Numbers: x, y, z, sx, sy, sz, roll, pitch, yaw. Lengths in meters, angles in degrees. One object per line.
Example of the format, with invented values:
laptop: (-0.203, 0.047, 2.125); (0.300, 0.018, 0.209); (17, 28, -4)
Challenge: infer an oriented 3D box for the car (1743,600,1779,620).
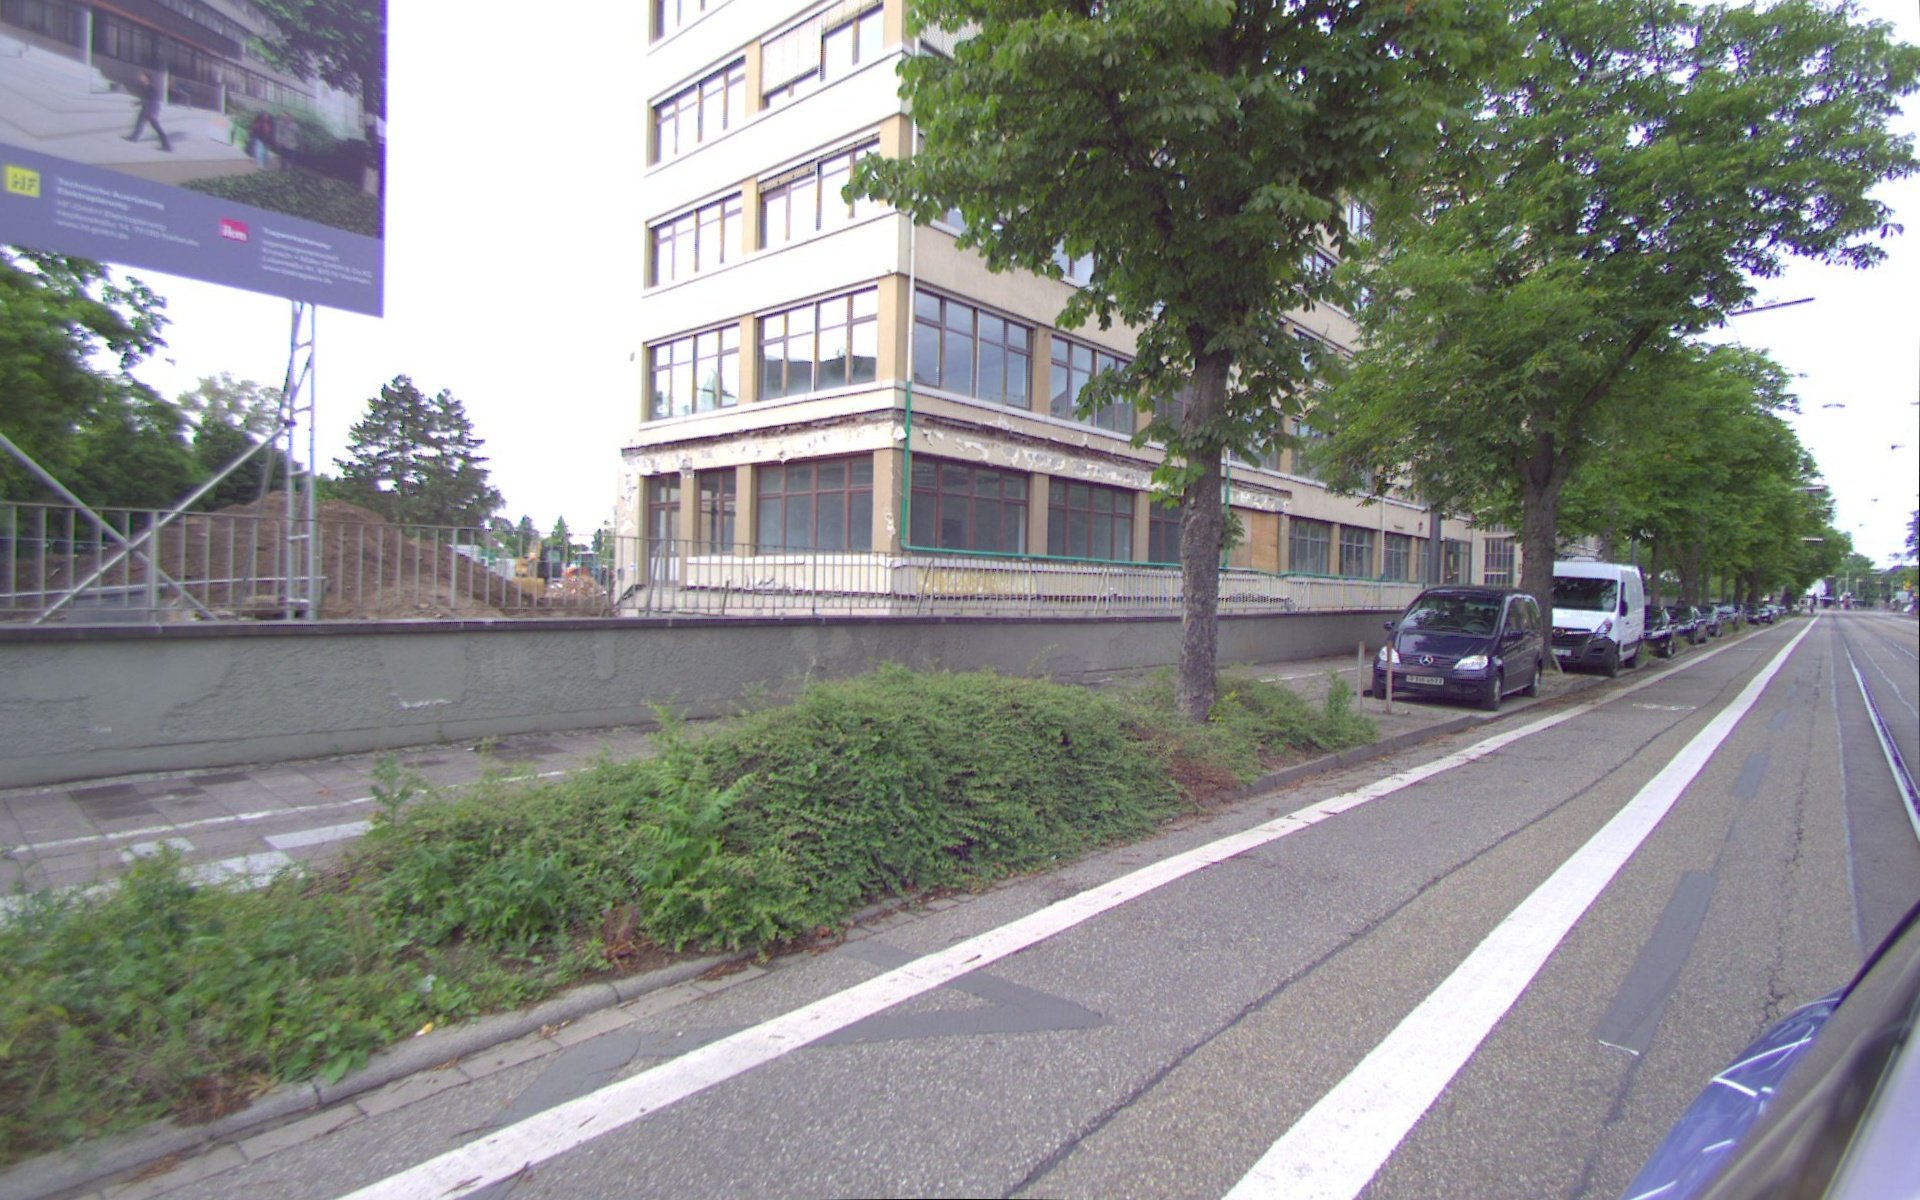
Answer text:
car: (62.431, 0.756, 78.842); (1.992, 1.479, 4.328); (1, 0, 41)

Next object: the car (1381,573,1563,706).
car: (8.207, 0.512, 16.054); (1.652, 1.835, 4.024); (1, 1, 41)

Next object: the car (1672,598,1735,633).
car: (34.001, 0.674, 46.242); (1.992, 1.479, 4.328); (1, 0, 41)

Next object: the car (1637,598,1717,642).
car: (26.413, 0.697, 37.210); (1.992, 1.479, 4.328); (1, 0, 41)

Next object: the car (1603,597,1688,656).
car: (20.431, 0.726, 30.098); (1.817, 1.518, 4.050); (4, 3, 38)

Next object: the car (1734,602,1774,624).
car: (54.970, 0.883, 70.010); (1.992, 1.479, 4.328); (1, 0, 41)

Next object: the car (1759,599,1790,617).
car: (71.562, 0.681, 88.936); (1.992, 1.479, 4.328); (1, 0, 41)

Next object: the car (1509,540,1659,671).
car: (14.378, 0.105, 23.158); (2.110, 2.635, 5.410); (0, 0, 41)

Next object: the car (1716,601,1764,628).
car: (45.438, 0.790, 58.913); (1.992, 1.479, 4.328); (1, 0, 41)

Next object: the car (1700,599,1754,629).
car: (40.168, 0.715, 52.993); (1.992, 1.479, 4.328); (1, 0, 41)

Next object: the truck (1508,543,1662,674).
truck: (14.413, 0.136, 23.169); (2.111, 2.634, 5.410); (3, 2, 41)
